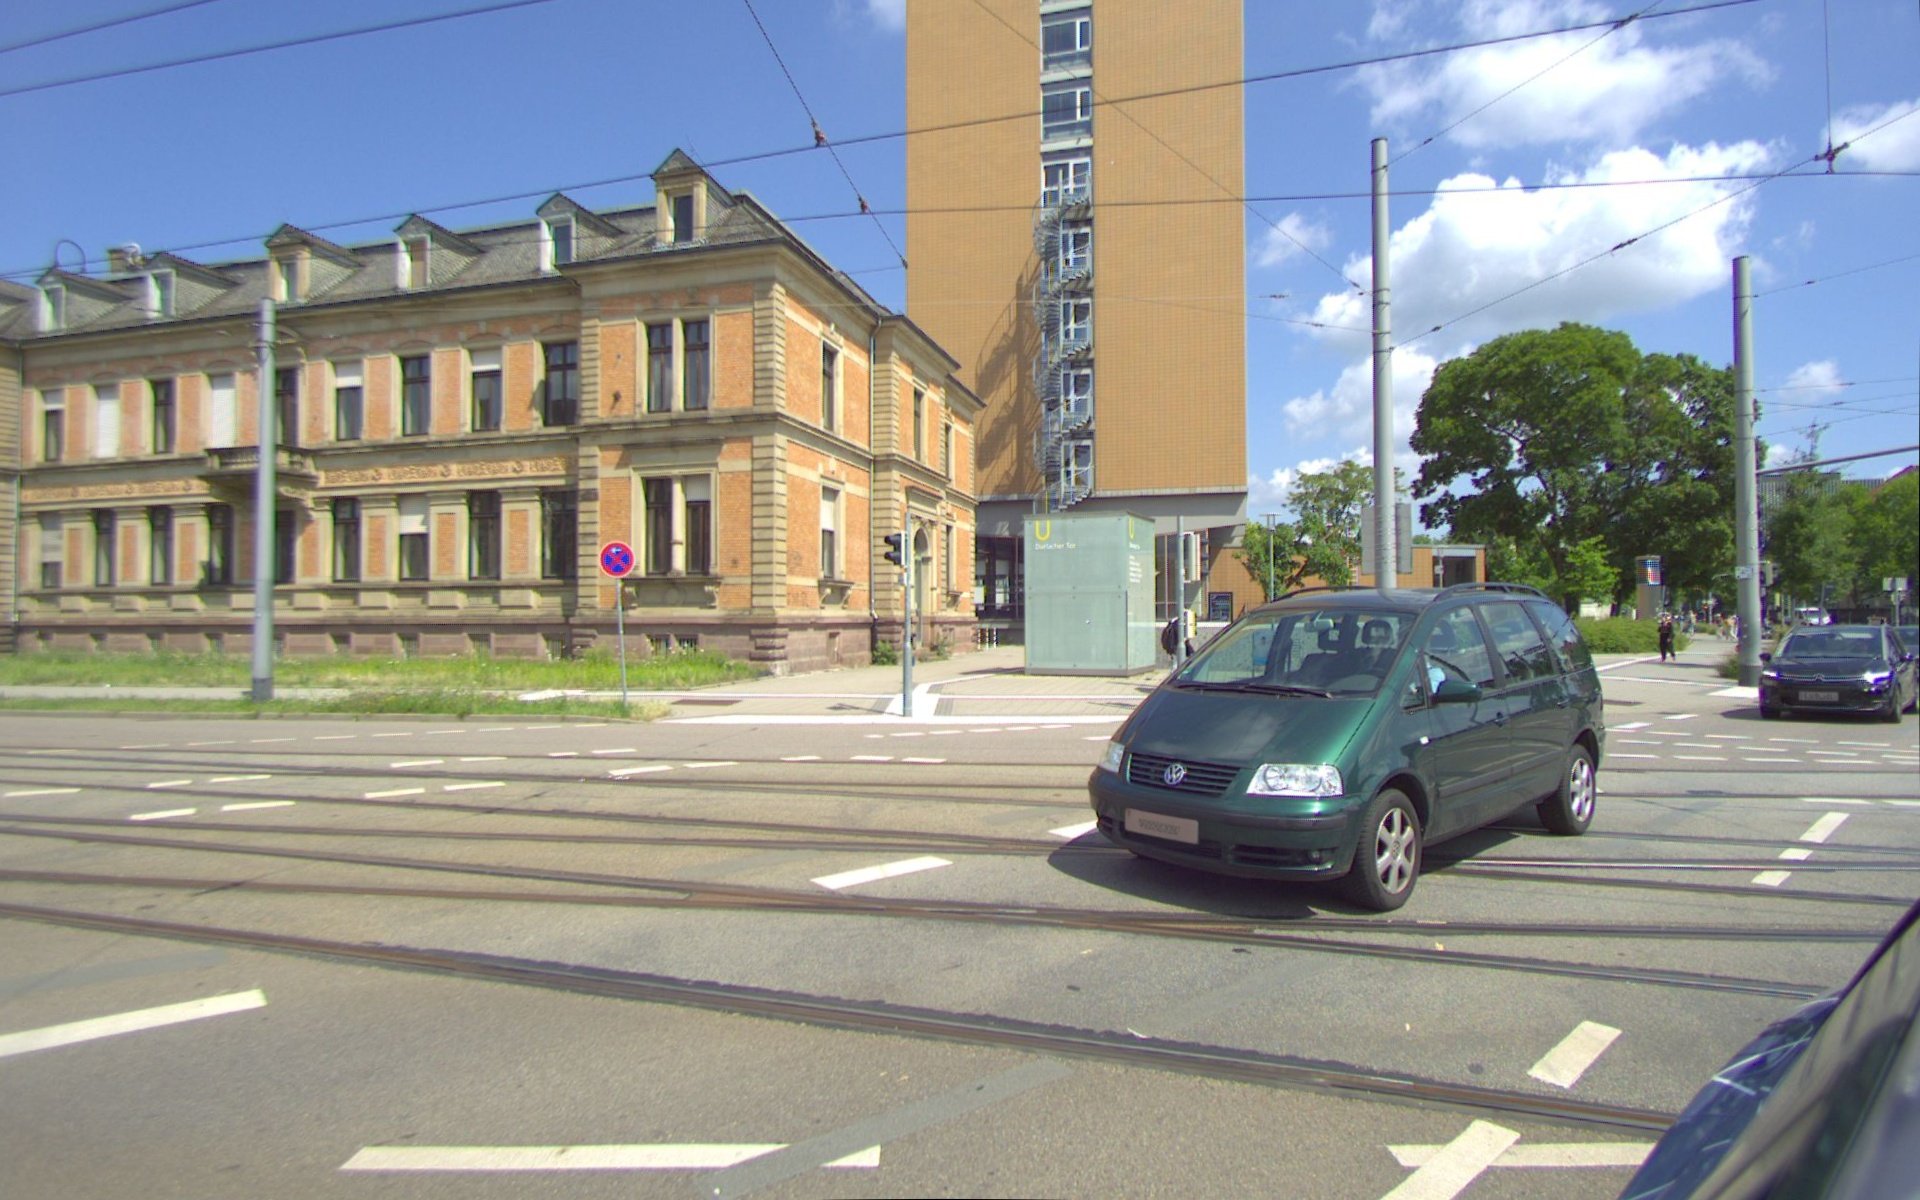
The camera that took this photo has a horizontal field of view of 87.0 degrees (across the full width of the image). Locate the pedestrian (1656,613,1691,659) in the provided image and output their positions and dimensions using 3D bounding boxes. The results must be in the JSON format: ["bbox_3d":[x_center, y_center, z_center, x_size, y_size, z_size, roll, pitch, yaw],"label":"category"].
[{"bbox_3d":[25.005,1.246,35.464,0.754,1.606,0.829,1,-2,-40],"label":"pedestrian"}]

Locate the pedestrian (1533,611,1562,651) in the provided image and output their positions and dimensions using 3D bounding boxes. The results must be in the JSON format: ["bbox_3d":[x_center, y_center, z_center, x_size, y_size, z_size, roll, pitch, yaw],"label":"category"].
[{"bbox_3d":[24.366,1.290,41.981,0.754,1.647,0.829,1,-2,-40],"label":"pedestrian"}]

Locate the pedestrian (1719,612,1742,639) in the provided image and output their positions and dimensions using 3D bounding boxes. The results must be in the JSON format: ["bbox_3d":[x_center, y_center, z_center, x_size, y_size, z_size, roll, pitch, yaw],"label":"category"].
[{"bbox_3d":[49.714,1.616,65.319,1.145,1.711,1.293,-1,-2,37],"label":"pedestrian"}]

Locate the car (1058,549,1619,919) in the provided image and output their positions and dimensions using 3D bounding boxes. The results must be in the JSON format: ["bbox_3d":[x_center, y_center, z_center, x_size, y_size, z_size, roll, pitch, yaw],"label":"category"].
[{"bbox_3d":[2.711,0.680,6.798,4.014,1.740,1.816,0,-3,-42],"label":"car"}]

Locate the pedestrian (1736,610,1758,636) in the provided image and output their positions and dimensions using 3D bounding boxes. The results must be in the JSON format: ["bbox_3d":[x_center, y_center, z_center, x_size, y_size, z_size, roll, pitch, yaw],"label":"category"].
[{"bbox_3d":[53.128,1.567,68.318,1.145,1.711,1.293,-1,-2,37],"label":"pedestrian"}]

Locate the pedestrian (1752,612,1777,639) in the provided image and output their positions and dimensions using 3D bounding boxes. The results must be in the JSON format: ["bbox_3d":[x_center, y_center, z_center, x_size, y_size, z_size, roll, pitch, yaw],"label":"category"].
[{"bbox_3d":[51.583,1.612,64.901,1.145,1.711,1.293,-1,-2,37],"label":"pedestrian"}]

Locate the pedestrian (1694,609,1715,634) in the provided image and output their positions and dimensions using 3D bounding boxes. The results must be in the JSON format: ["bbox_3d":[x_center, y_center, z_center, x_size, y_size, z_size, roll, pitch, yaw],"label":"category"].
[{"bbox_3d":[53.186,1.530,72.289,1.145,1.711,1.293,-1,-2,37],"label":"pedestrian"}]

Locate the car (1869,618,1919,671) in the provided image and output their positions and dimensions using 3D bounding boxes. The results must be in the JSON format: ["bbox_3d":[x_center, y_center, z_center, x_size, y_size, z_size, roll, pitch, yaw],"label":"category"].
[{"bbox_3d":[29.302,1.316,30.732,4.348,1.505,1.871,0,-2,-40],"label":"car"}]

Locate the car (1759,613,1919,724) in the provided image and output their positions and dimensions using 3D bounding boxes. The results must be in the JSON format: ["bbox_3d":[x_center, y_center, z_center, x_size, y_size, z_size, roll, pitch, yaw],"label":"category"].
[{"bbox_3d":[15.684,1.078,17.738,4.349,1.637,1.871,0,0,-41],"label":"car"}]

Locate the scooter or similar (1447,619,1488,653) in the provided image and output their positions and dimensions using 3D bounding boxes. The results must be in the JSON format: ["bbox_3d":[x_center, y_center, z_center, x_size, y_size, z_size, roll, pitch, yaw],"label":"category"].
[{"bbox_3d":[18.800,1.337,37.496,1.305,1.239,0.602,-1,-2,29],"label":"scooter or similar"}]

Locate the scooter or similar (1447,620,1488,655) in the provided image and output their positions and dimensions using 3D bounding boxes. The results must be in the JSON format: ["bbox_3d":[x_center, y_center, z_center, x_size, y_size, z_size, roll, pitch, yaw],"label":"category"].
[{"bbox_3d":[18.432,1.347,36.774,1.305,1.239,0.602,-1,-2,29],"label":"scooter or similar"}]

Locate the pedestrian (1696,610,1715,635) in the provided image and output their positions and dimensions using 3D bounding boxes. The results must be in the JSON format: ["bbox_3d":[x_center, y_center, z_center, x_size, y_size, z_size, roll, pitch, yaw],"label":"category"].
[{"bbox_3d":[55.170,1.641,74.901,1.056,1.799,0.974,-1,-2,35],"label":"pedestrian"}]

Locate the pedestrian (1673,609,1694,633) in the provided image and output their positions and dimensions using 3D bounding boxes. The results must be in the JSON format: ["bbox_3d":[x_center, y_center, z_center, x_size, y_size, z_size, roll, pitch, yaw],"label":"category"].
[{"bbox_3d":[52.056,1.530,72.797,1.145,1.711,1.293,-1,-2,37],"label":"pedestrian"}]
